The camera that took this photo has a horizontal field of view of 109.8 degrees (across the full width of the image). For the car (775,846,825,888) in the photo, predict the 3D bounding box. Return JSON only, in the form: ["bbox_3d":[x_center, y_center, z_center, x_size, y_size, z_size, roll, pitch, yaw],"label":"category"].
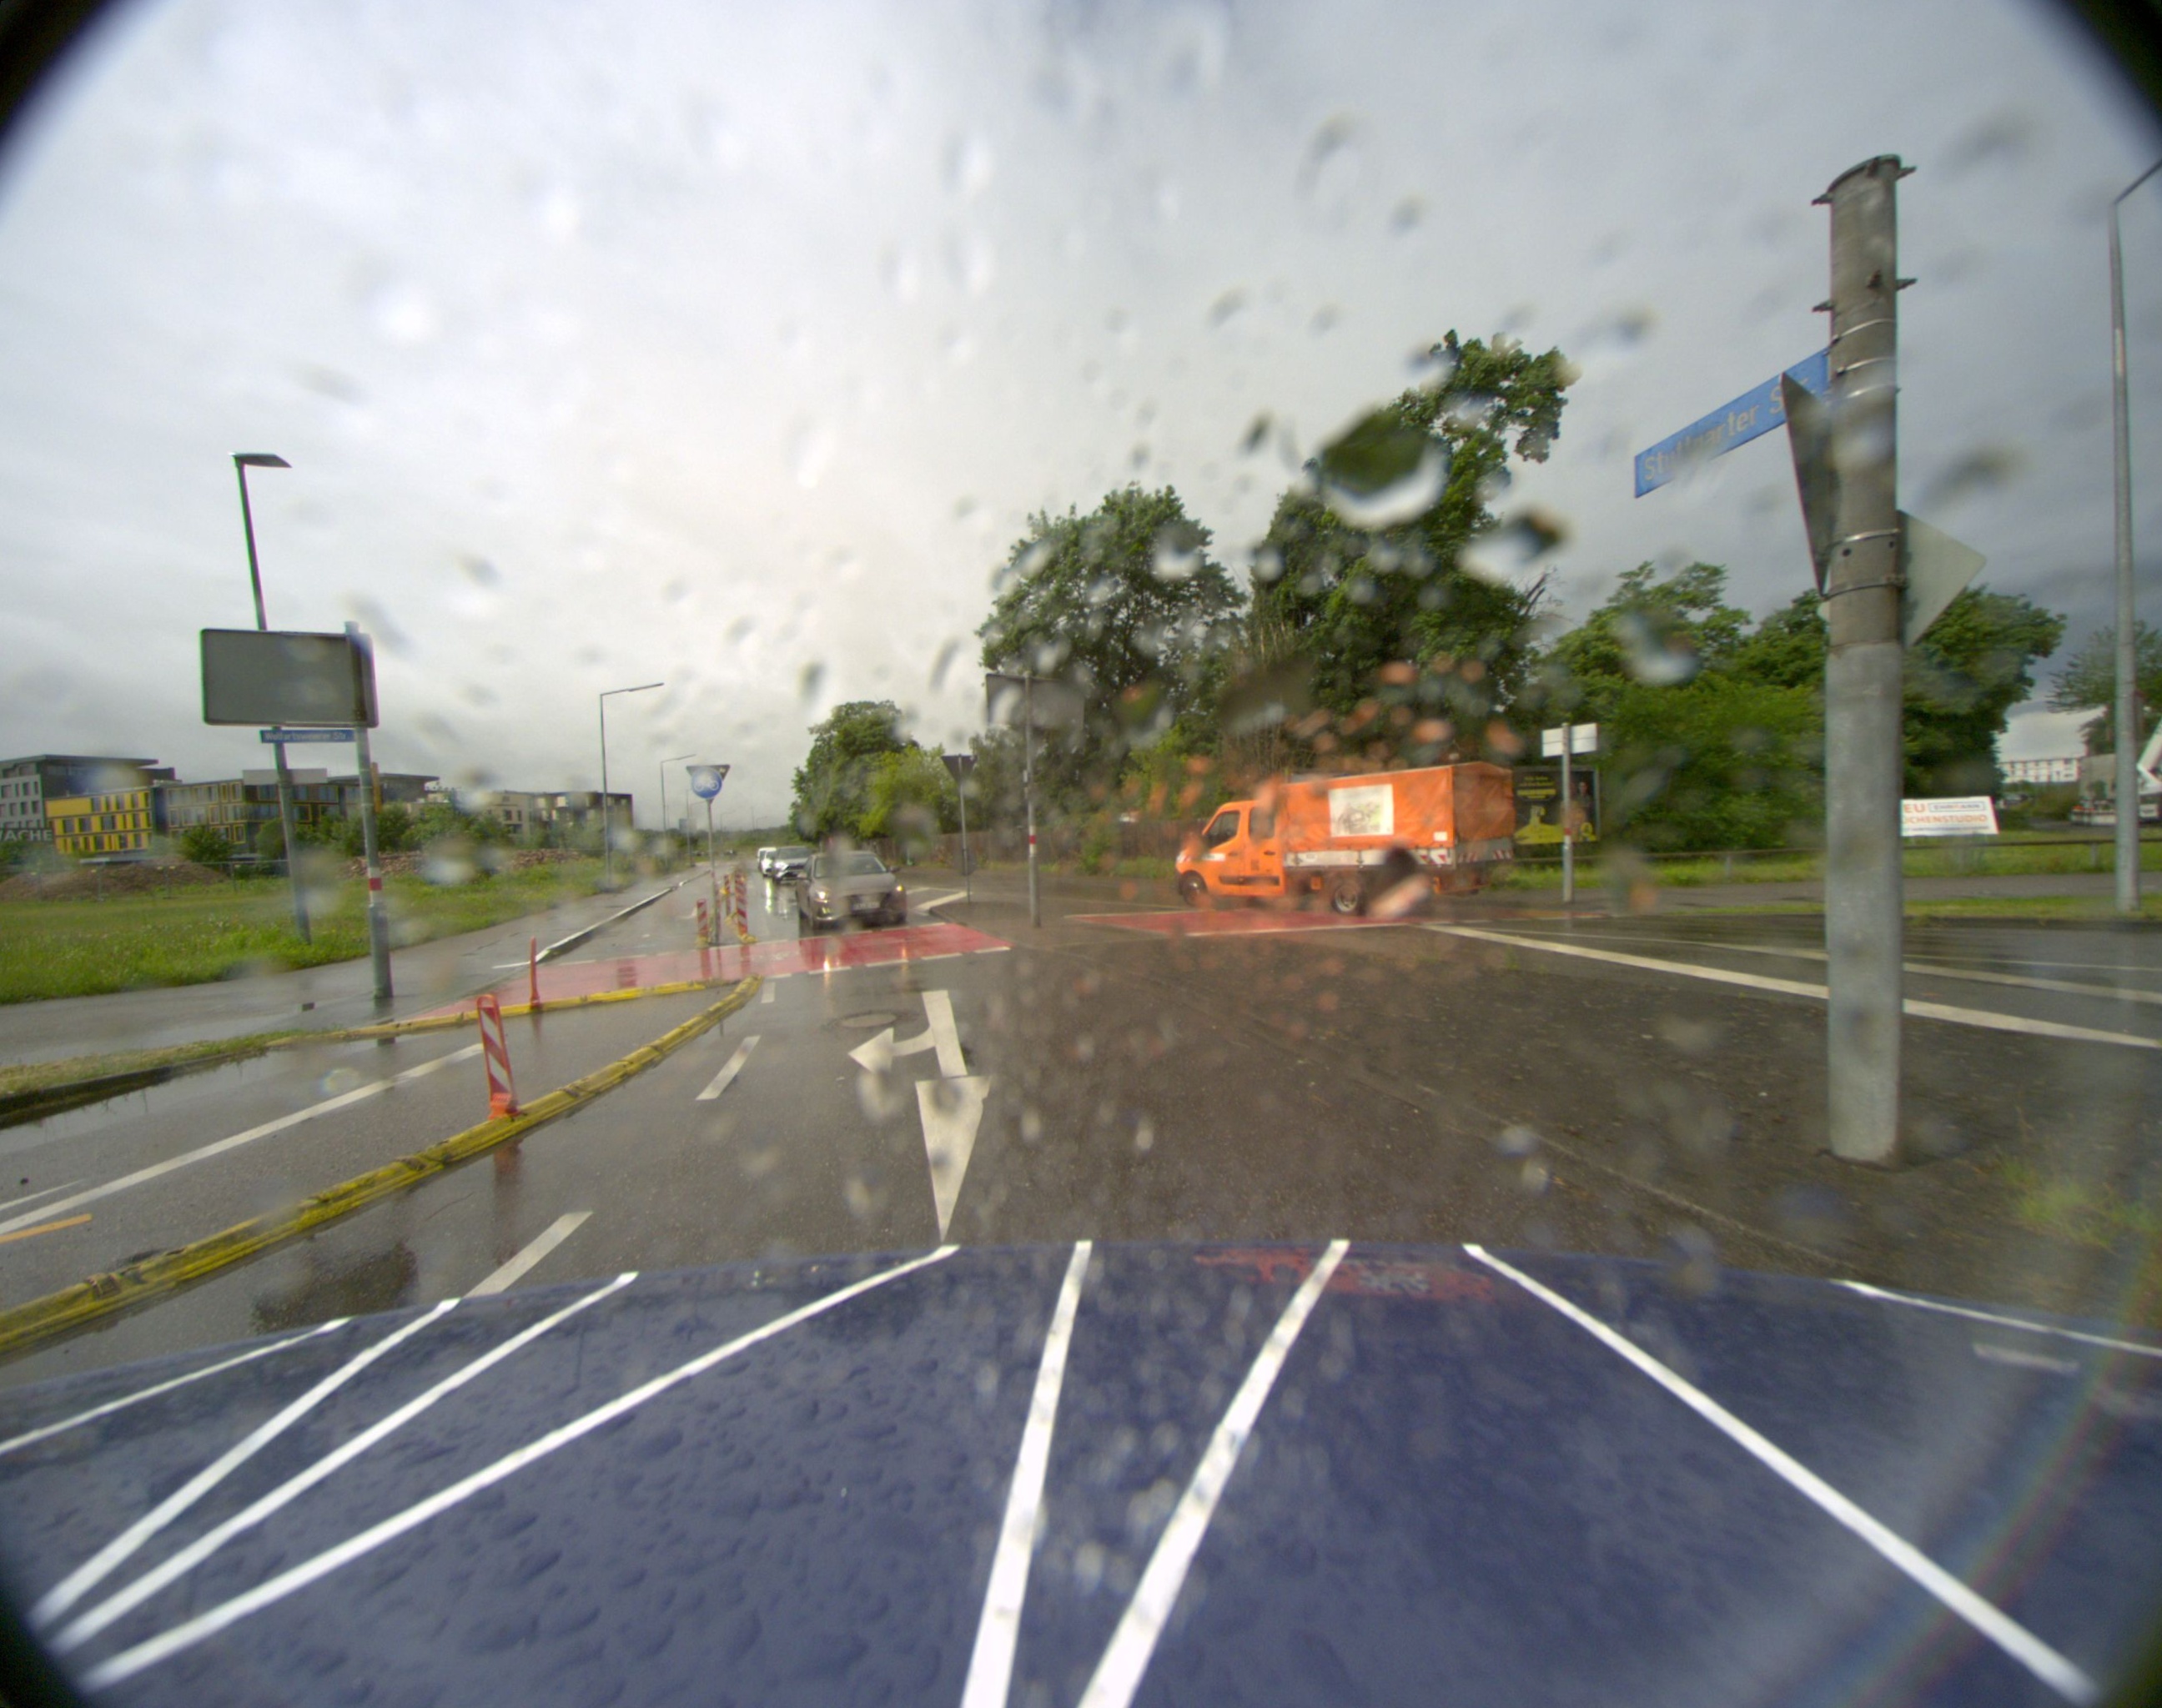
[{"bbox_3d":[-12.625,0.521,34.125,1.877,1.654,4.474,-4,2,-21],"label":"car"}]

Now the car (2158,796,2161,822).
[{"bbox_3d":[70.997,-2.915,48.891,4.478,1.662,1.862,-2,1,-34],"label":"car"}]

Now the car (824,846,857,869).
[{"bbox_3d":[-16.964,0.230,53.561,1.635,1.524,3.450,-2,1,-27],"label":"car"}]

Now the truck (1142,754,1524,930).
[{"bbox_3d":[4.556,-0.211,15.151,2.466,2.711,6.927,-4,2,-39],"label":"truck"}]

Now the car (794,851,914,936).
[{"bbox_3d":[-4.817,0.717,15.743,1.737,1.405,4.119,-4,1,-24],"label":"car"}]

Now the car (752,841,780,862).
[{"bbox_3d":[-27.904,-0.209,67.203,1.878,1.654,4.473,-6,3,-26],"label":"car"}]

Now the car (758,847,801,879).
[{"bbox_3d":[-17.987,0.494,45.197,1.878,1.654,4.473,-5,3,-26],"label":"car"}]

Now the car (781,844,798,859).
[{"bbox_3d":[-46.013,-0.432,120.009,2.002,2.321,3.991,-3,2,-27],"label":"car"}]
